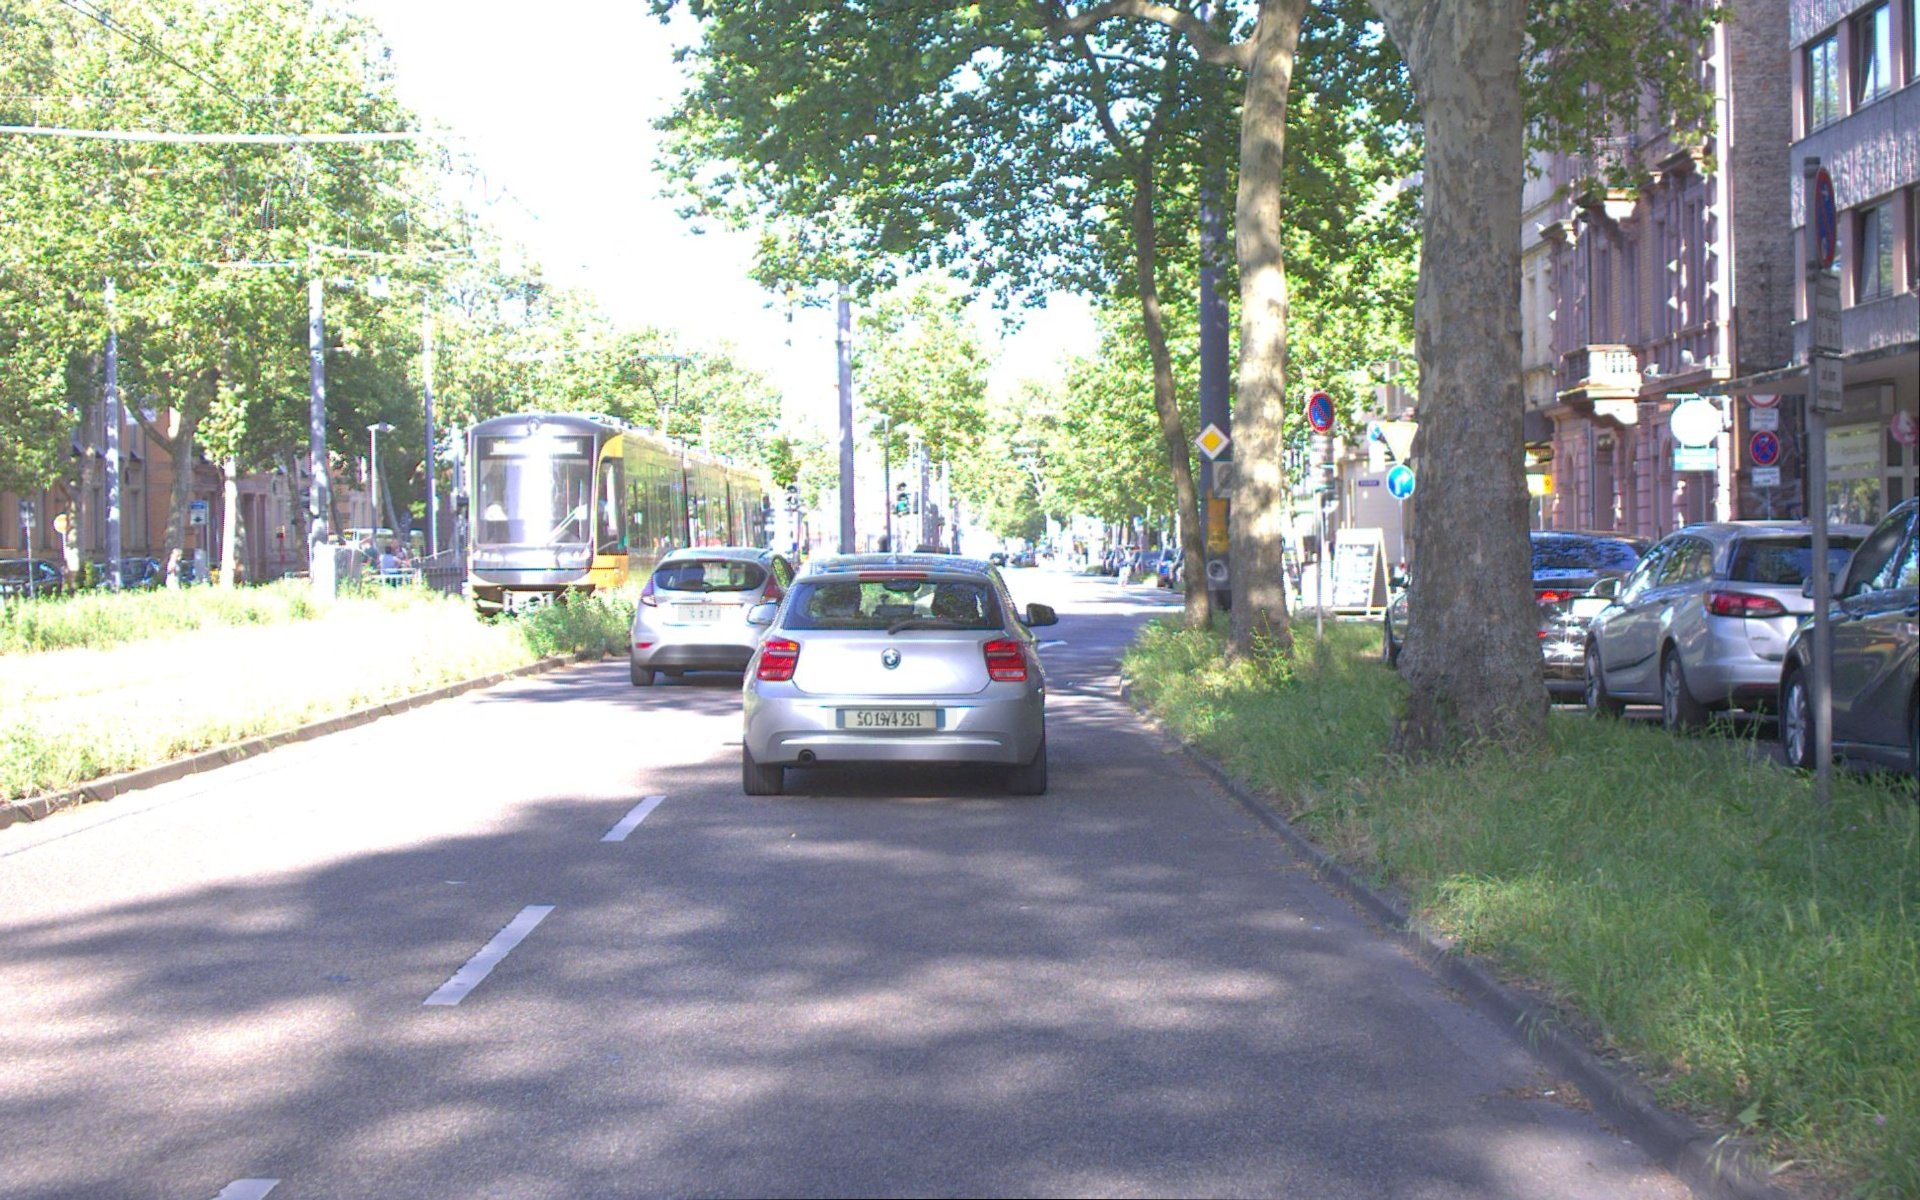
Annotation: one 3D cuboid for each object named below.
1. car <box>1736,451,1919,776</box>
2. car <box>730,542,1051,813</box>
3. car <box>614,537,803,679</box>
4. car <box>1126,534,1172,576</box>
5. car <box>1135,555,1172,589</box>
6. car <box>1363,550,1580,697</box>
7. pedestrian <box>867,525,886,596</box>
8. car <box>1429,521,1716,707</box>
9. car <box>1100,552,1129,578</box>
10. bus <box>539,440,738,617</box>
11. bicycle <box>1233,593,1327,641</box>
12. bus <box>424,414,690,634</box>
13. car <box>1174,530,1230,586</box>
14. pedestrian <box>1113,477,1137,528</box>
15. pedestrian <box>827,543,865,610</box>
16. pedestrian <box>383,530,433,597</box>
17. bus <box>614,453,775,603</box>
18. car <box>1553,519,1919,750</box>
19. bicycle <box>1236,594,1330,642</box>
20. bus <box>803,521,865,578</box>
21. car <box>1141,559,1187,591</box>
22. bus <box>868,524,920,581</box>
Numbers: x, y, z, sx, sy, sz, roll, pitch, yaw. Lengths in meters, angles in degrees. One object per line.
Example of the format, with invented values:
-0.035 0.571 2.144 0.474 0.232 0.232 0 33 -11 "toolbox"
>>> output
5.302 0.037 17.581 1.704 1.497 4.358 1 1 1 "car"
-0.389 0.398 21.206 1.762 1.427 4.000 1 2 0 "car"
-2.625 0.048 36.569 1.647 1.358 3.760 1 2 1 "car"
7.769 -1.859 141.448 1.692 1.652 4.039 -1 2 1 "car"
9.717 -1.414 172.514 1.669 1.546 4.000 1 2 1 "car"
5.588 0.212 38.053 1.700 1.419 4.517 1 2 0 "car"
-2.245 -1.064 92.707 0.450 1.896 0.585 0 1 -6 "pedestrian"
5.352 0.071 30.633 1.806 1.484 4.919 1 1 2 "car"
9.627 -2.207 214.280 1.700 1.529 3.717 1 2 1 "car"
-6.646 -1.499 72.978 2.869 3.432 12.215 0 1 1 "bus"
7.057 0.375 75.791 2.014 0.990 0.444 1 1 -1 "bicycle"
-6.809 -1.304 60.269 2.869 3.432 13.217 0 1 1 "bus"
8.802 -1.551 125.429 1.754 1.958 4.737 0 1 1 "car"
6.658 -3.937 138.781 0.838 2.006 0.648 1 1 8 "pedestrian"
-3.217 -0.666 97.218 1.072 1.909 1.127 0 0 -1 "pedestrian"
-13.698 -0.904 85.326 1.176 1.638 0.893 -1 0 -6 "pedestrian"
-6.422 -1.757 84.931 2.869 3.432 11.611 0 1 1 "bus"
5.510 0.185 24.609 1.677 1.461 4.670 1 1 0 "car"
7.069 0.388 75.279 2.003 0.990 0.444 1 1 -1 "bicycle"
-8.406 -3.504 232.251 2.869 3.616 24.604 0 1 1 "bus"
9.905 -1.206 167.034 1.993 1.504 4.597 1 0 1 "car"
-4.359 -3.250 229.386 2.750 3.613 18.848 0 1 1 "bus"
